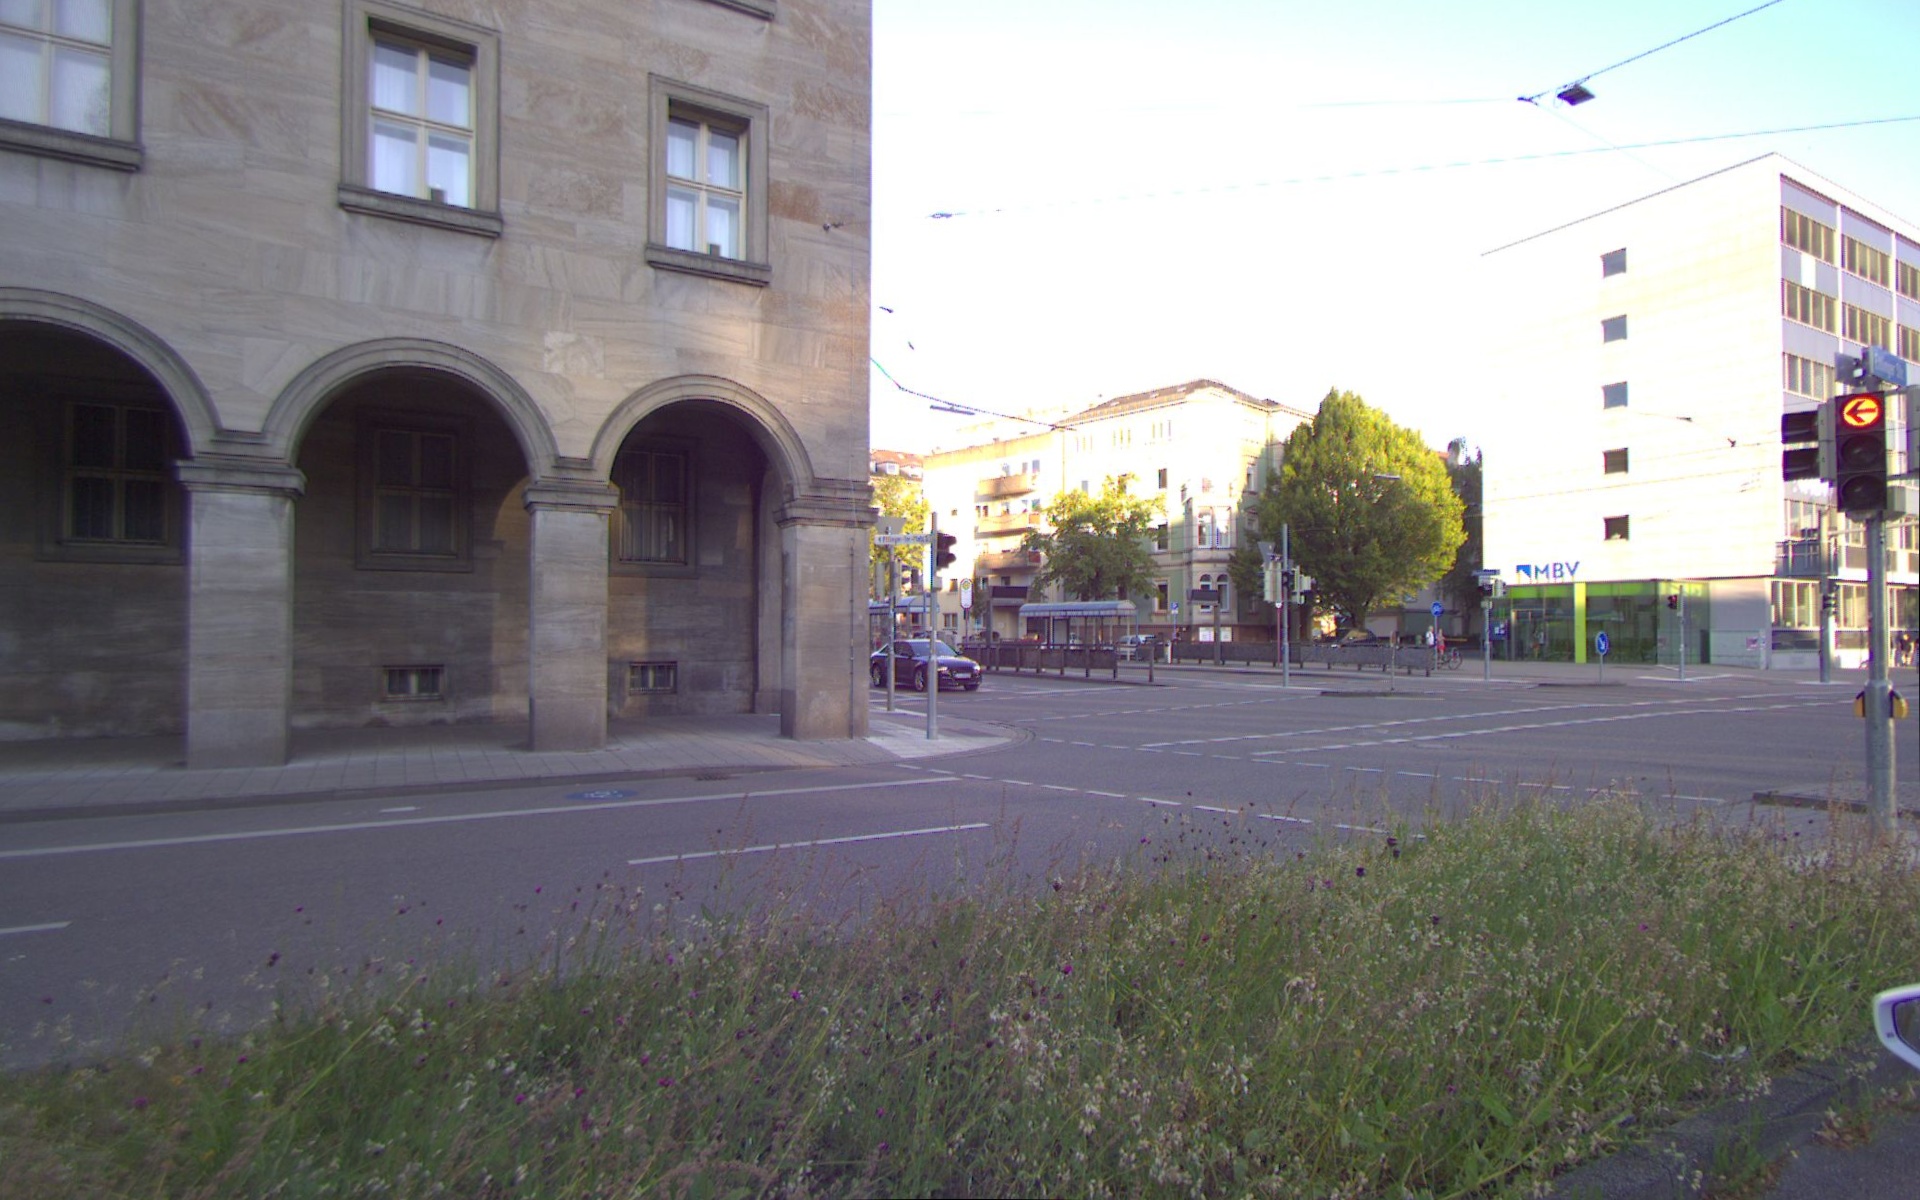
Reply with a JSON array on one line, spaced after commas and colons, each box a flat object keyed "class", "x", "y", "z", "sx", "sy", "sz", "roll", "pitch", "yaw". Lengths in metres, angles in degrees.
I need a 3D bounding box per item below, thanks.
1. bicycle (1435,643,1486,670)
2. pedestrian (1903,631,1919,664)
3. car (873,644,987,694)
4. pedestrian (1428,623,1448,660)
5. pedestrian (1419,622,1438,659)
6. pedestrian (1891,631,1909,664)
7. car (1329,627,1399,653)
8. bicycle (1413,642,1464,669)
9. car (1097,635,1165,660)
[{"class": "bicycle", "x": 21.675, "y": 2.445, "z": 43.459, "sx": 2.183, "sy": 1.127, "sz": 0.834, "roll": 1, "pitch": -2, "yaw": -26}, {"class": "pedestrian", "x": 49.526, "y": 2.480, "z": 52.258, "sx": 0.494, "sy": 1.701, "sz": 0.549, "roll": 1, "pitch": -2, "yaw": -30}, {"class": "car", "x": -0.957, "y": 1.979, "z": 29.708, "sx": 1.791, "sy": 1.344, "sz": 4.120, "roll": 1, "pitch": -2, "yaw": -27}, {"class": "pedestrian", "x": 23.904, "y": 2.086, "z": 50.228, "sx": 0.718, "sy": 1.813, "sz": 0.634, "roll": 2, "pitch": -2, "yaw": -43}, {"class": "pedestrian", "x": 23.246, "y": 2.026, "z": 49.839, "sx": 0.718, "sy": 1.813, "sz": 0.634, "roll": 2, "pitch": -2, "yaw": -44}, {"class": "pedestrian", "x": 48.813, "y": 2.458, "z": 52.141, "sx": 0.494, "sy": 1.701, "sz": 0.549, "roll": 1, "pitch": -2, "yaw": -30}, {"class": "car", "x": 22.153, "y": 2.189, "z": 55.017, "sx": 3.553, "sy": 1.390, "sz": 1.826, "roll": 1, "pitch": -2, "yaw": -32}, {"class": "bicycle", "x": 21.206, "y": 2.450, "z": 44.510, "sx": 2.183, "sy": 1.127, "sz": 0.834, "roll": 1, "pitch": -2, "yaw": -26}, {"class": "car", "x": 10.055, "y": 2.772, "z": 59.176, "sx": 3.545, "sy": 1.390, "sz": 1.830, "roll": -2, "pitch": -3, "yaw": 45}]
